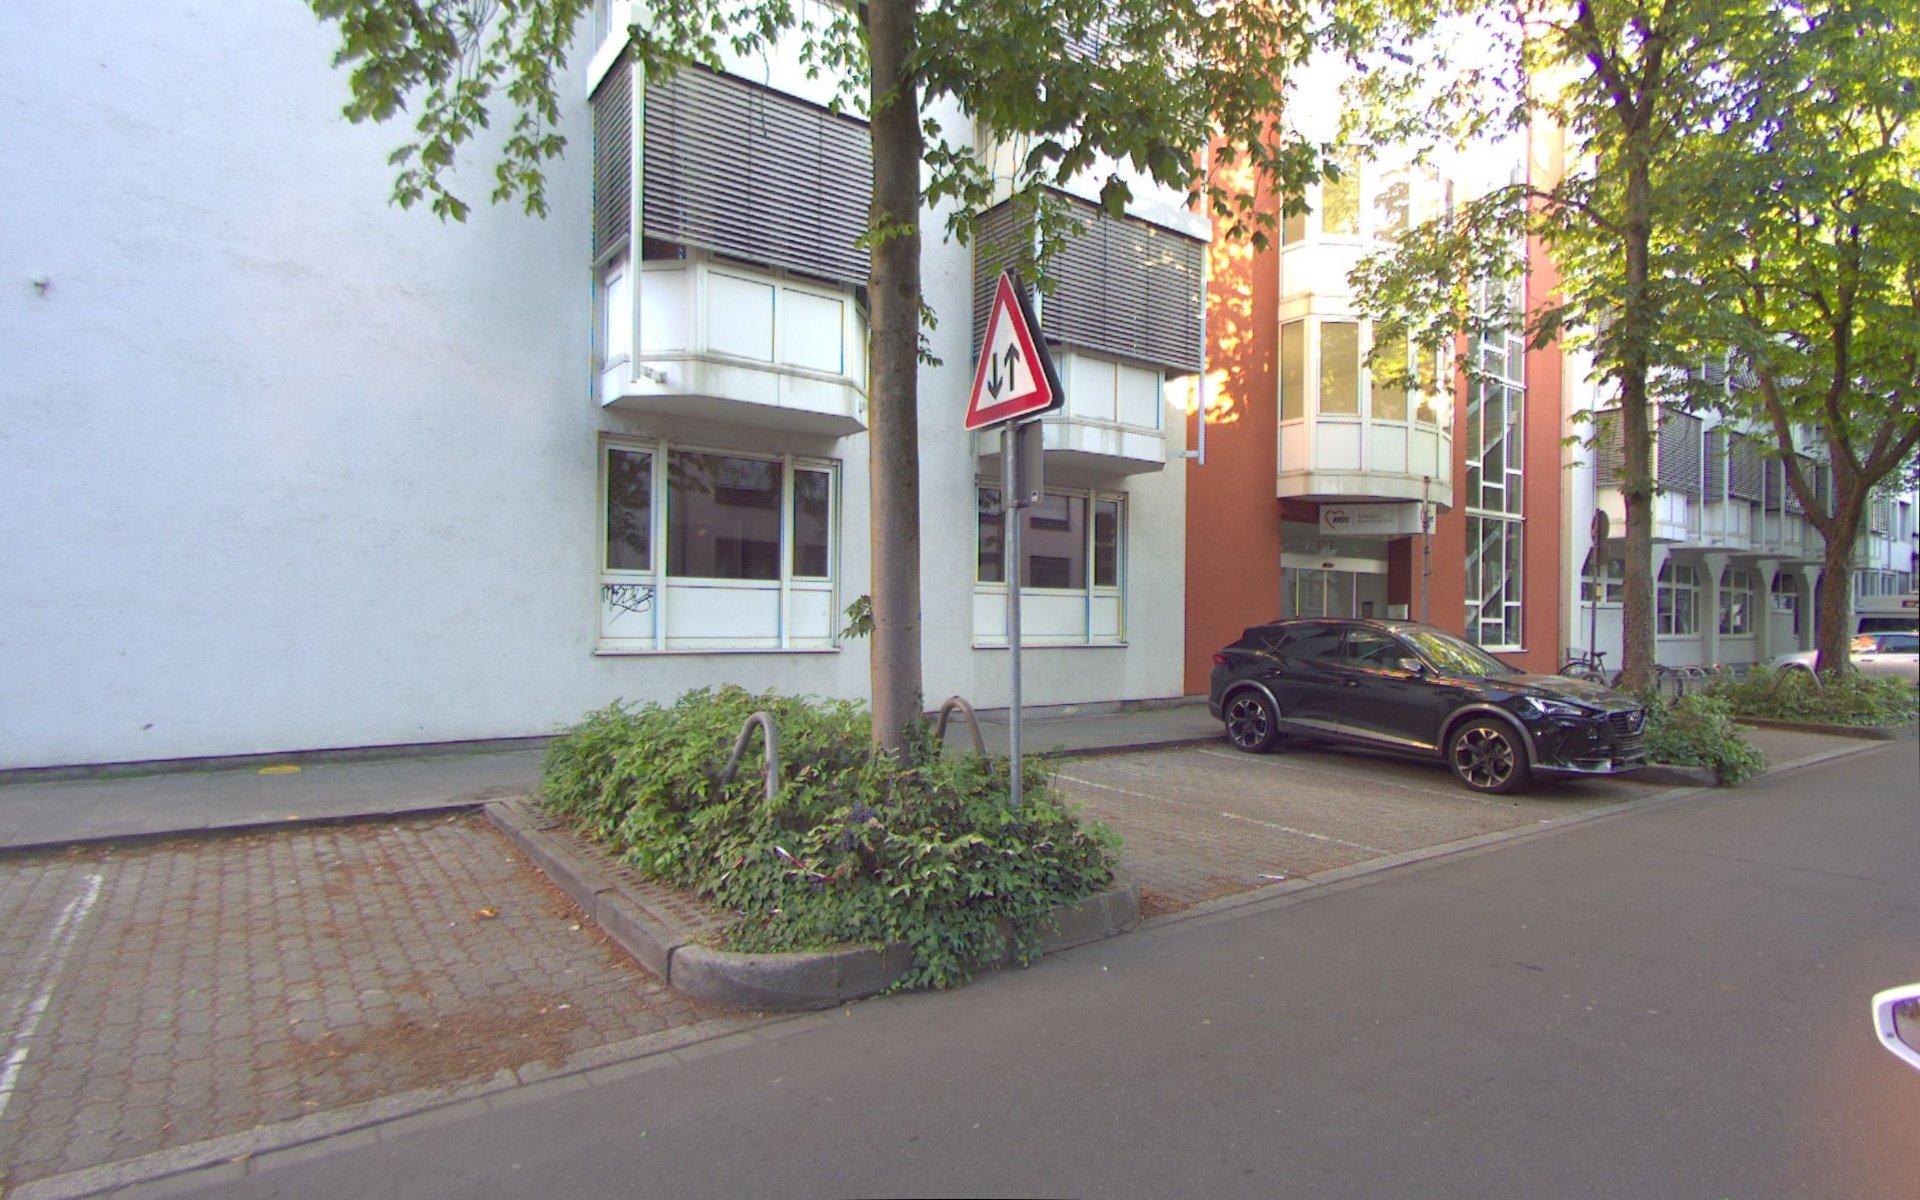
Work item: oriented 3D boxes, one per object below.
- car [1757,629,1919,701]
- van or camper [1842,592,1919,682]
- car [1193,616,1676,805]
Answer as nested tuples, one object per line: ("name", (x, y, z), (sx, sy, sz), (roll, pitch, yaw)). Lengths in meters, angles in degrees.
("car", (21.159, 1.464, 23.231), (1.767, 1.537, 3.942), (1, -1, -35))
("van or camper", (27.901, 1.048, 28.031), (1.981, 2.511, 4.632), (1, -1, -36))
("car", (4.714, 0.962, 10.606), (1.768, 1.537, 4.325), (1, -1, -35))
